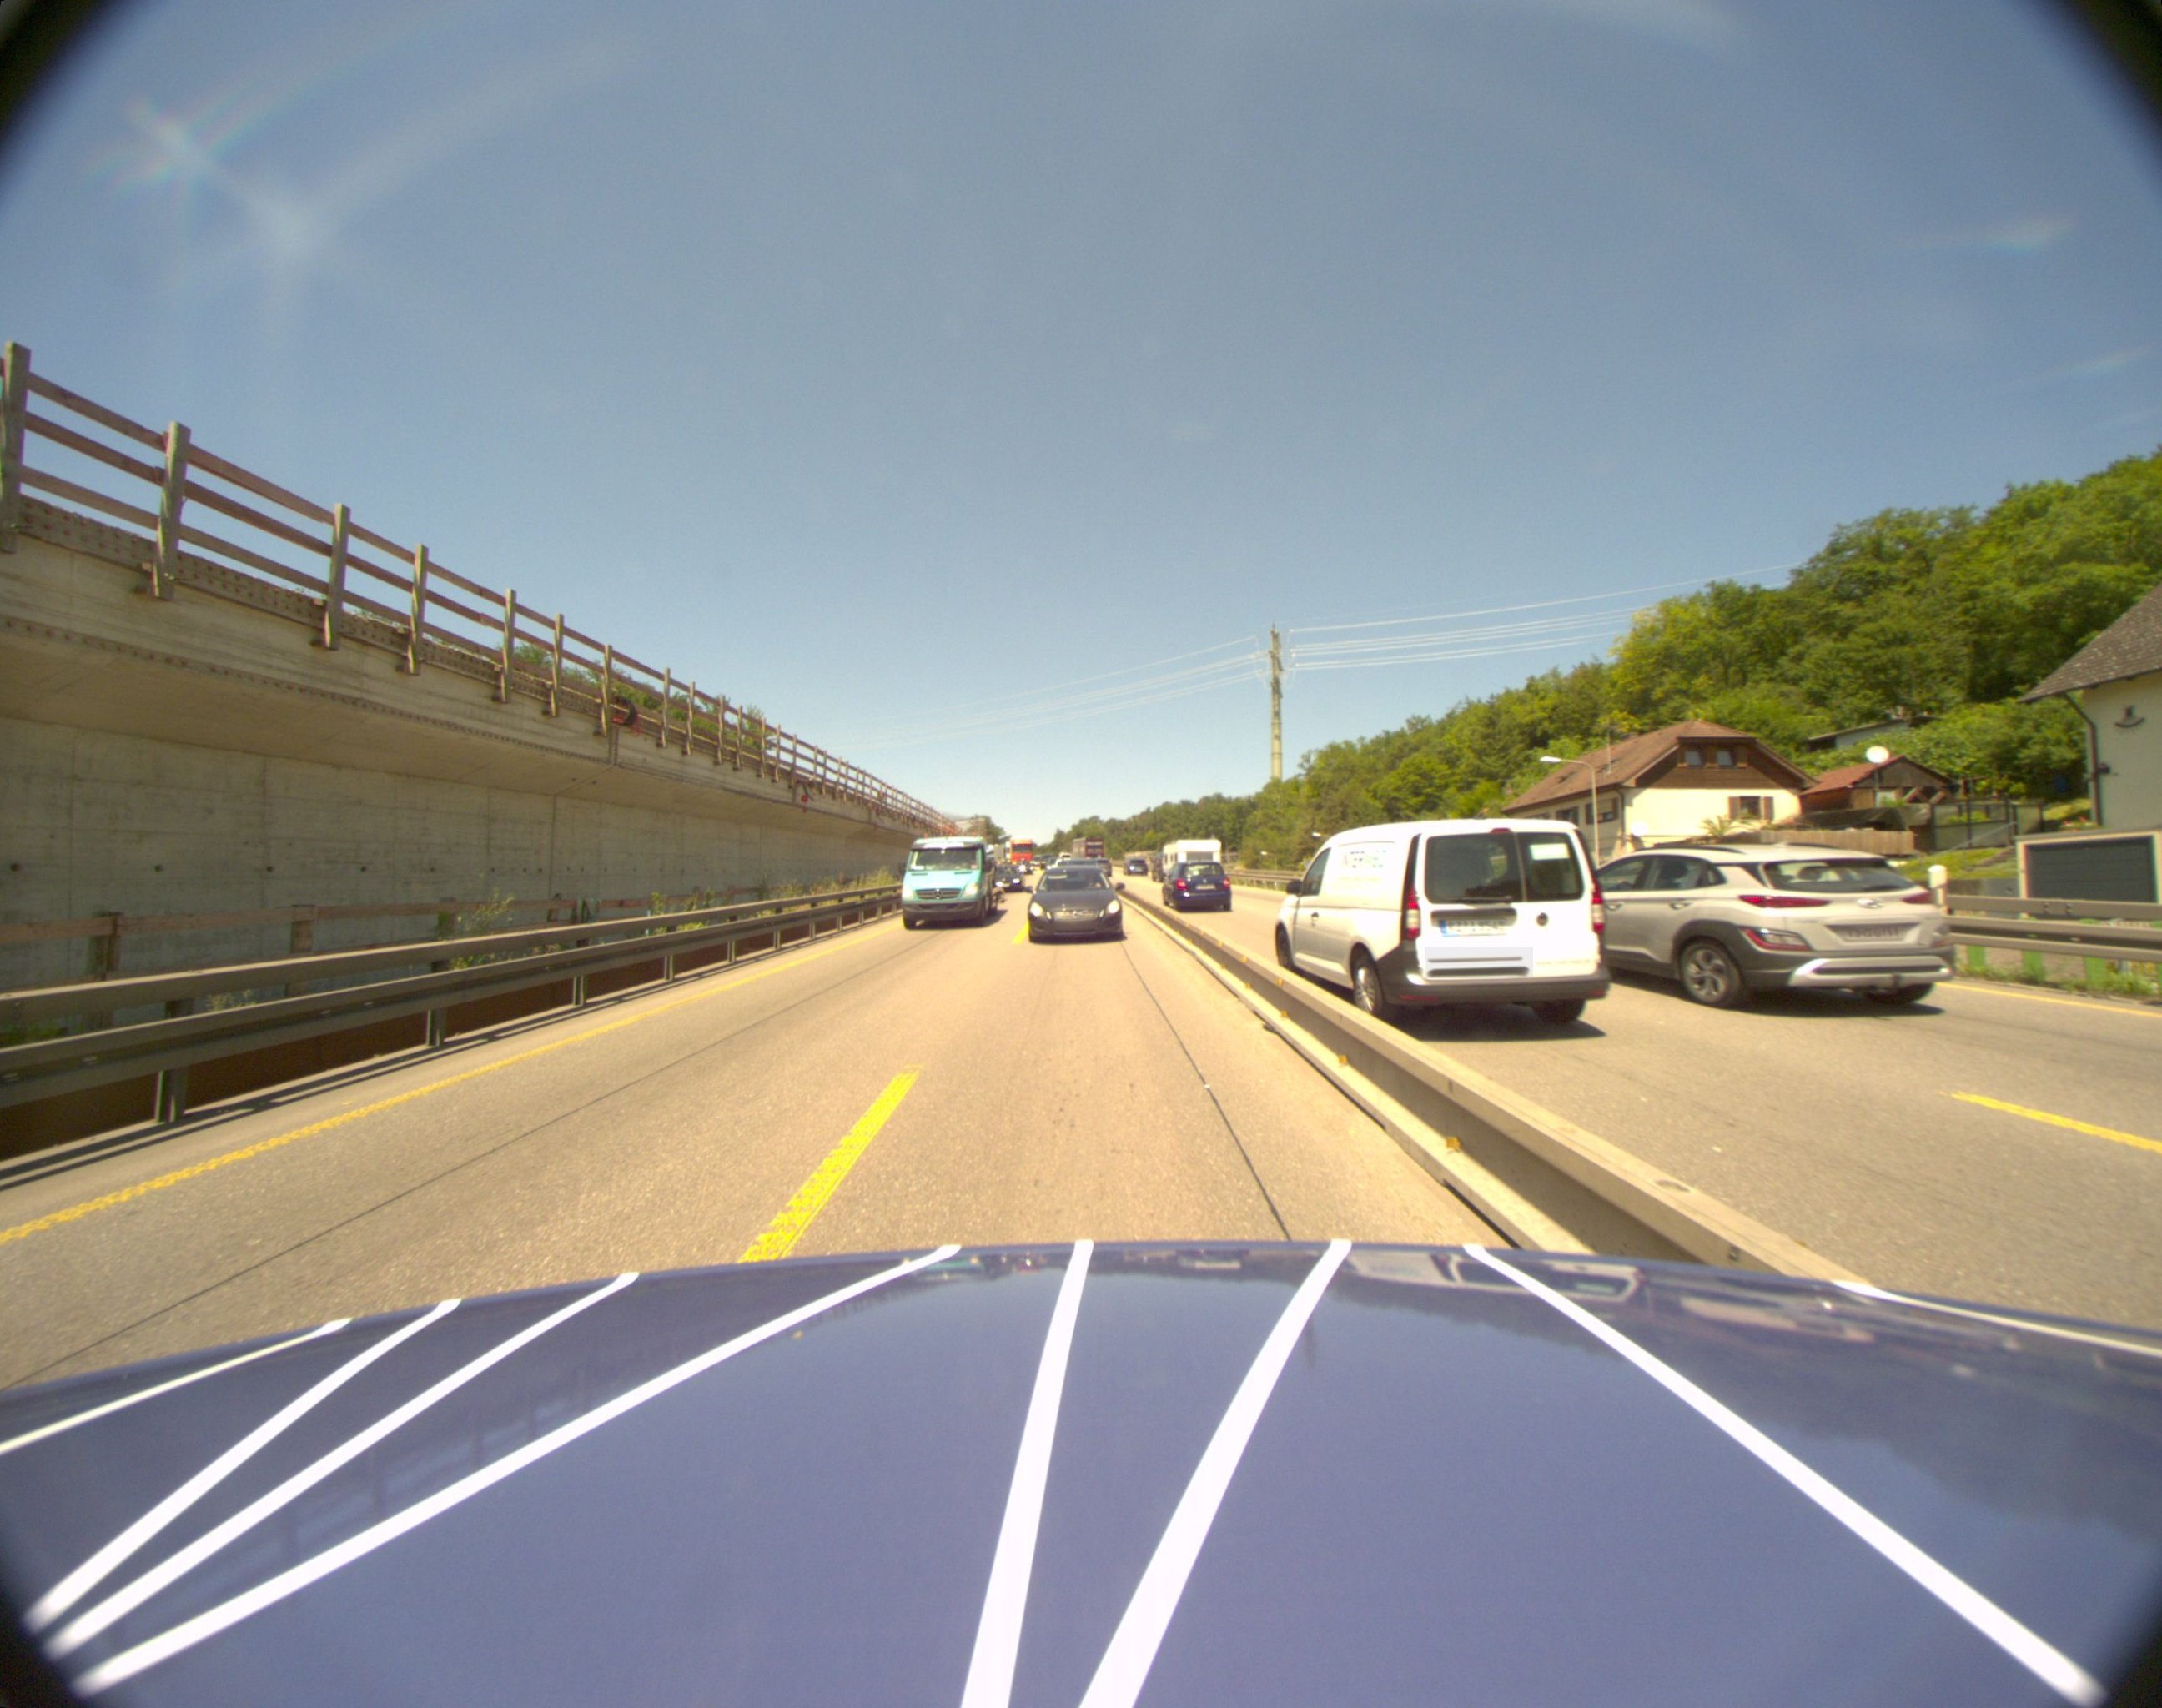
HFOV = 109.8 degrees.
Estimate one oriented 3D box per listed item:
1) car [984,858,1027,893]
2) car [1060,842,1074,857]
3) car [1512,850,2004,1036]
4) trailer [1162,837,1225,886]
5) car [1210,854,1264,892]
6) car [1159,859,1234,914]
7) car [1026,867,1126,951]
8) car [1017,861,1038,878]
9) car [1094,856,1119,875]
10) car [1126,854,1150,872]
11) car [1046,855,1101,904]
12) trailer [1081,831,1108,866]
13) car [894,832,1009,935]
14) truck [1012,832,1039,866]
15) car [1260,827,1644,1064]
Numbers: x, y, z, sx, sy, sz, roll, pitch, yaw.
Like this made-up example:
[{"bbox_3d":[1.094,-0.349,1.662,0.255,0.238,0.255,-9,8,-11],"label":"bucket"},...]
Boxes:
[{"bbox_3d":[-3.889,1.087,39.803,1.860,1.650,3.999,-2,0,-2],"label":"car"},{"bbox_3d":[-2.163,-0.613,115.529,1.860,2.138,5.564,-2,0,-4],"label":"car"},{"bbox_3d":[6.613,0.726,8.143,1.706,1.471,3.974,-1,0,0],"label":"car"},{"bbox_3d":[6.336,0.399,43.673,2.606,2.573,6.240,-1,0,0],"label":"trailer"},{"bbox_3d":[8.860,1.026,43.515,1.999,2.002,4.979,-2,0,0],"label":"car"},{"bbox_3d":[3.399,0.905,23.014,1.575,1.453,4.213,-1,0,0],"label":"car"},{"bbox_3d":[-0.138,1.036,15.946,1.793,1.440,4.297,-1,0,-1],"label":"car"},{"bbox_3d":[-5.244,1.490,75.396,1.674,1.499,3.648,-2,0,1],"label":"car"},{"bbox_3d":[2.173,0.964,65.124,1.802,1.577,4.321,-1,0,-2],"label":"car"},{"bbox_3d":[4.981,0.814,66.953,1.630,1.505,3.855,-1,0,-3],"label":"car"},{"bbox_3d":[-0.279,0.905,28.730,1.859,1.650,3.999,-2,0,0],"label":"car"},{"bbox_3d":[1.887,-0.752,109.868,3.130,4.687,12.075,-2,0,-2],"label":"trailer"},{"bbox_3d":[-3.374,0.699,21.375,1.968,2.367,7.210,-1,0,0],"label":"car"},{"bbox_3d":[-6.951,-0.607,96.637,2.651,3.978,11.194,-2,0,-1],"label":"truck"},{"bbox_3d":[3.277,0.686,7.797,1.814,1.730,4.256,-1,0,0],"label":"car"}]
